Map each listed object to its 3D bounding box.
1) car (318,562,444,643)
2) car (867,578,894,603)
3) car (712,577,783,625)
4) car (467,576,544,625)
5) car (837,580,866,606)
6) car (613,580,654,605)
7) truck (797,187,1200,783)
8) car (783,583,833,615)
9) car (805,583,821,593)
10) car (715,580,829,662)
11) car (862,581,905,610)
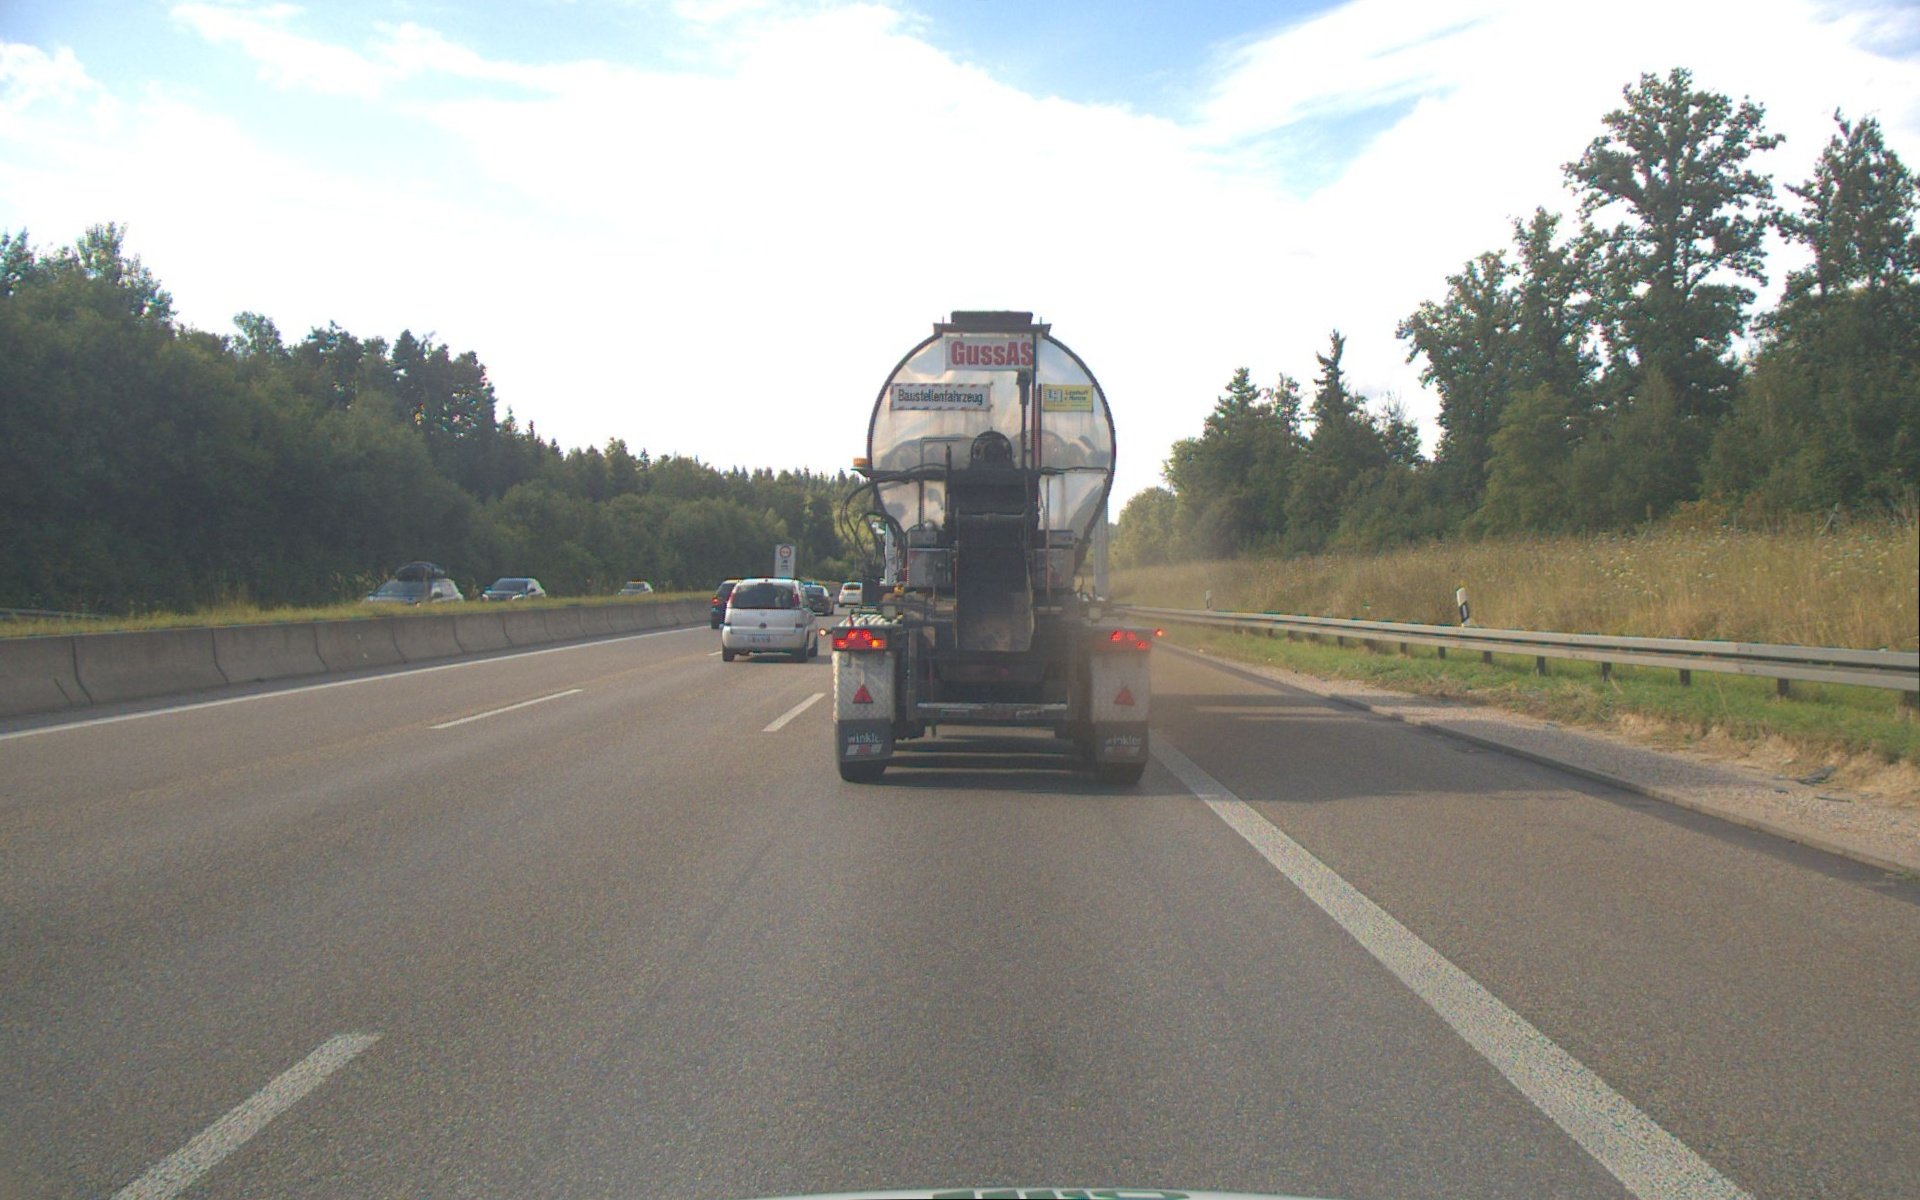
[{"bbox_3d":[-15.387,0.034,44.159,1.953,2.049,4.071,0,1,-1],"label":"car"},{"bbox_3d":[-5.765,-0.698,119.917,1.808,1.814,3.999,0,1,-1],"label":"car"},{"bbox_3d":[-7.048,0.016,55.229,1.798,1.544,4.333,0,0,0],"label":"car"},{"bbox_3d":[-18.420,-0.012,67.278,1.953,1.914,4.437,0,1,-1],"label":"car"},{"bbox_3d":[-6.679,-0.450,101.887,1.585,1.571,3.519,1,0,0],"label":"car"},{"bbox_3d":[-21.837,-0.532,110.676,1.841,1.656,4.570,0,1,-1],"label":"car"},{"bbox_3d":[0.320,-0.874,17.424,2.853,4.230,11.270,0,1,0],"label":"truck"},{"bbox_3d":[-7.031,-0.062,76.917,1.818,1.456,4.841,0,0,0],"label":"car"},{"bbox_3d":[-19.282,-1.595,217.665,1.779,1.313,3.544,0,1,0],"label":"car"},{"bbox_3d":[-3.717,0.382,33.408,1.798,1.544,4.333,0,0,0],"label":"car"},{"bbox_3d":[-4.097,-0.247,89.690,2.018,1.525,5.736,0,0,0],"label":"car"}]
